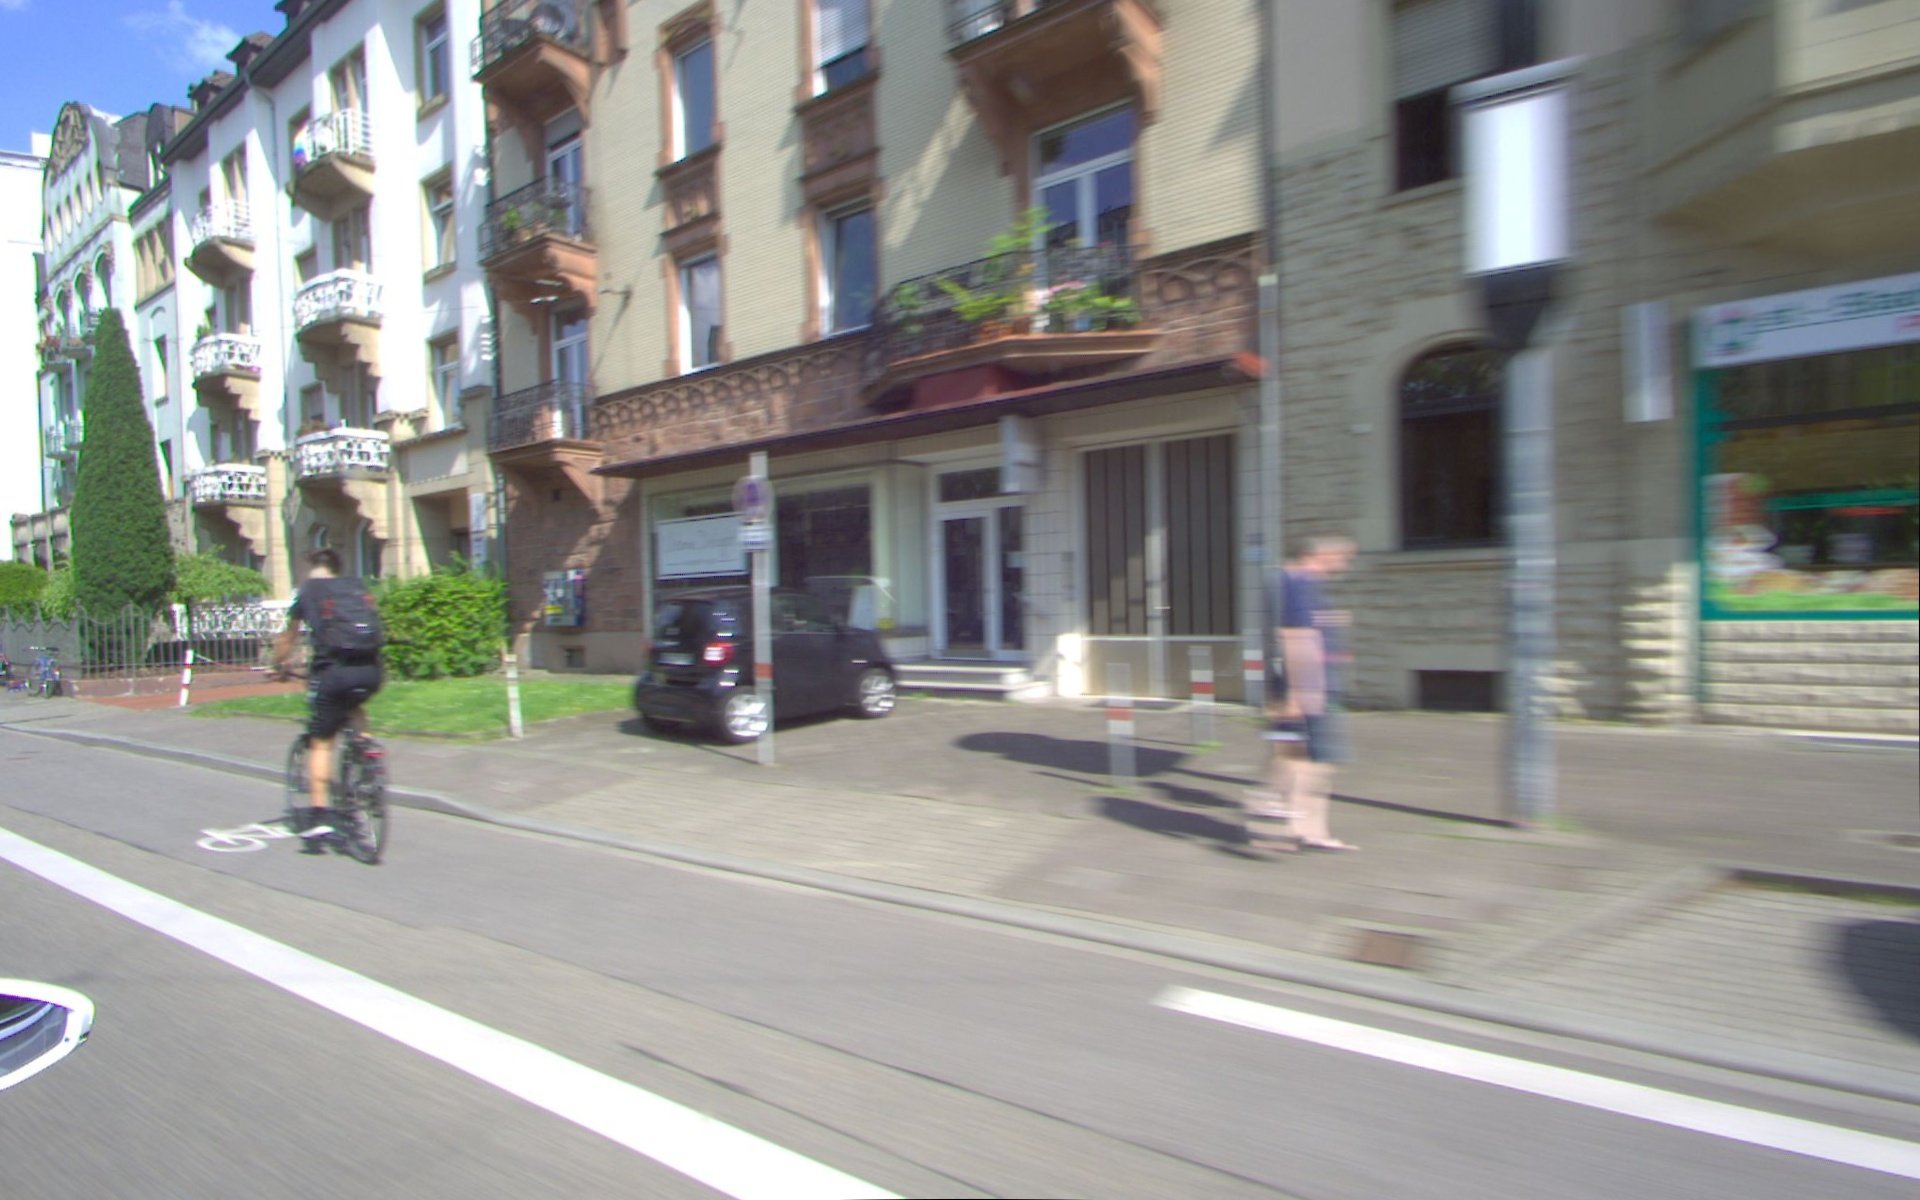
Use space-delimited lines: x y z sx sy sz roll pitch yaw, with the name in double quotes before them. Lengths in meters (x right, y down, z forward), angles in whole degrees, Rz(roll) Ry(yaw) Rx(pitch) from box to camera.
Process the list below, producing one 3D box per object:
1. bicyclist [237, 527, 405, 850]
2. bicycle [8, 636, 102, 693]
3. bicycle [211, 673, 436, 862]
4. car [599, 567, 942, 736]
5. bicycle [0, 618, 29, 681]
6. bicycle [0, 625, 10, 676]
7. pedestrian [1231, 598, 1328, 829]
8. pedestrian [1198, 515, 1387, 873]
"bicyclist" -4.284 0.561 6.701 1.116 1.973 0.605 -1 -1 37
"bicycle" -17.485 1.216 19.317 3.025 0.974 0.597 -1 4 35
"bicycle" -4.328 1.065 6.755 1.814 1.059 0.613 -4 2 38
"car" -2.057 0.470 11.535 1.948 1.544 3.385 -1 2 39
"bicycle" -20.613 1.045 21.501 1.819 1.278 0.449 -1 3 35
"bicycle" -22.378 1.158 23.035 1.821 1.138 0.449 -1 3 39
"pedestrian" 2.025 0.686 6.318 0.436 1.345 0.568 -1 6 29
"pedestrian" 1.898 0.484 5.683 0.860 1.868 0.657 -1 5 29
